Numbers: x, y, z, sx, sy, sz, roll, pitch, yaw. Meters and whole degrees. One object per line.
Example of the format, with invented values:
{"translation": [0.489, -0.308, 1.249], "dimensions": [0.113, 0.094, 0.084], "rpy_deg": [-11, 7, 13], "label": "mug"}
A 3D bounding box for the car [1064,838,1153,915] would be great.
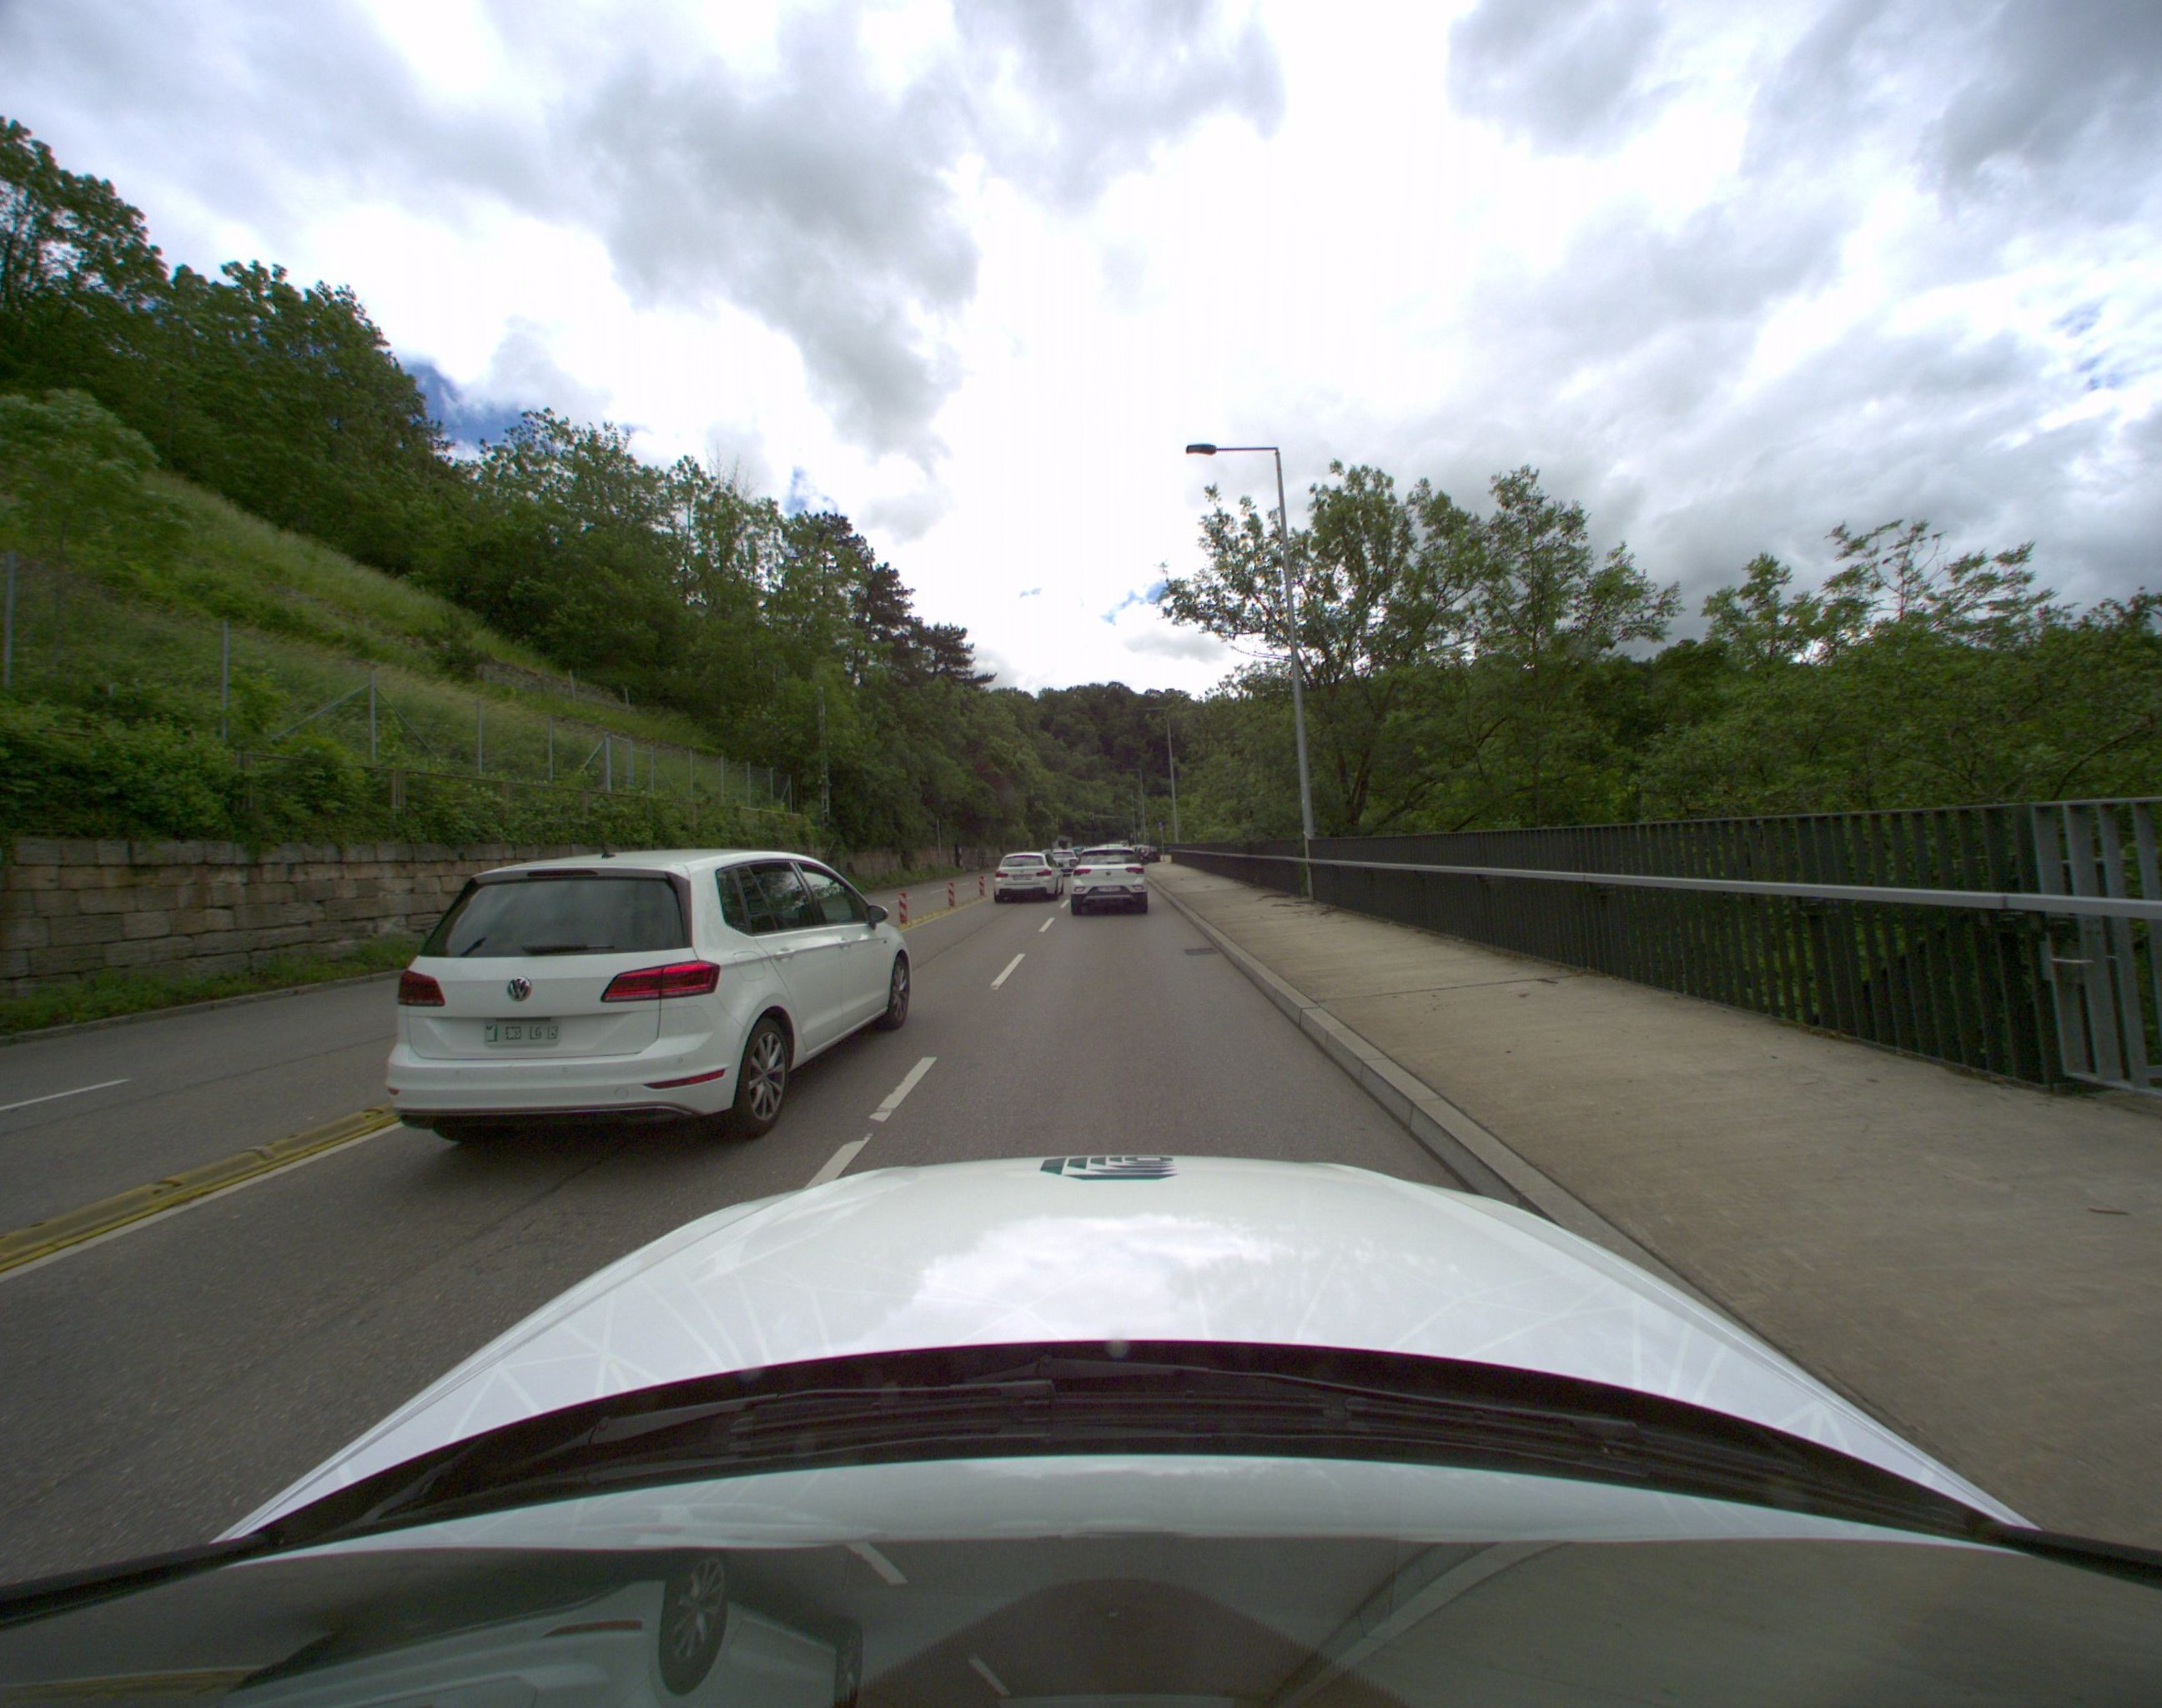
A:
{"translation": [0.787, 0.457, 19.943], "dimensions": [1.819, 1.605, 4.007], "rpy_deg": [-3, 1, 6], "label": "car"}

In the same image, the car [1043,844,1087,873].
{"translation": [-0.851, 0.222, 46.259], "dimensions": [1.984, 1.503, 4.673], "rpy_deg": [-2, 1, 4], "label": "car"}

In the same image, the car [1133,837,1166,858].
{"translation": [5.170, -0.471, 61.851], "dimensions": [1.811, 1.508, 3.994], "rpy_deg": [-2, 0, -4], "label": "car"}

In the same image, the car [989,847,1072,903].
{"translation": [-1.448, 0.578, 25.173], "dimensions": [1.819, 1.459, 4.492], "rpy_deg": [-3, 0, 5], "label": "car"}

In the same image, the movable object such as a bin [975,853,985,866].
{"translation": [-9.199, 0.505, 74.015], "dimensions": [0.714, 1.174, 0.676], "rpy_deg": [-2, 1, 2], "label": "movable object such as a bin"}

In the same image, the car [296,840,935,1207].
{"translation": [-2.485, 0.756, 5.810], "dimensions": [1.813, 1.580, 4.359], "rpy_deg": [-2, 0, 3], "label": "car"}

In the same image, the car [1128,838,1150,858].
{"translation": [5.655, -0.628, 79.744], "dimensions": [1.986, 1.717, 4.117], "rpy_deg": [-2, 2, 2], "label": "car"}

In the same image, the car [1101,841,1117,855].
{"translation": [3.631, -0.805, 107.493], "dimensions": [1.987, 1.860, 4.000], "rpy_deg": [1, 0, 0], "label": "car"}

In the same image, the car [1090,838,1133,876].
{"translation": [1.588, 0.098, 40.940], "dimensions": [1.985, 1.718, 4.118], "rpy_deg": [-3, 1, 3], "label": "car"}
